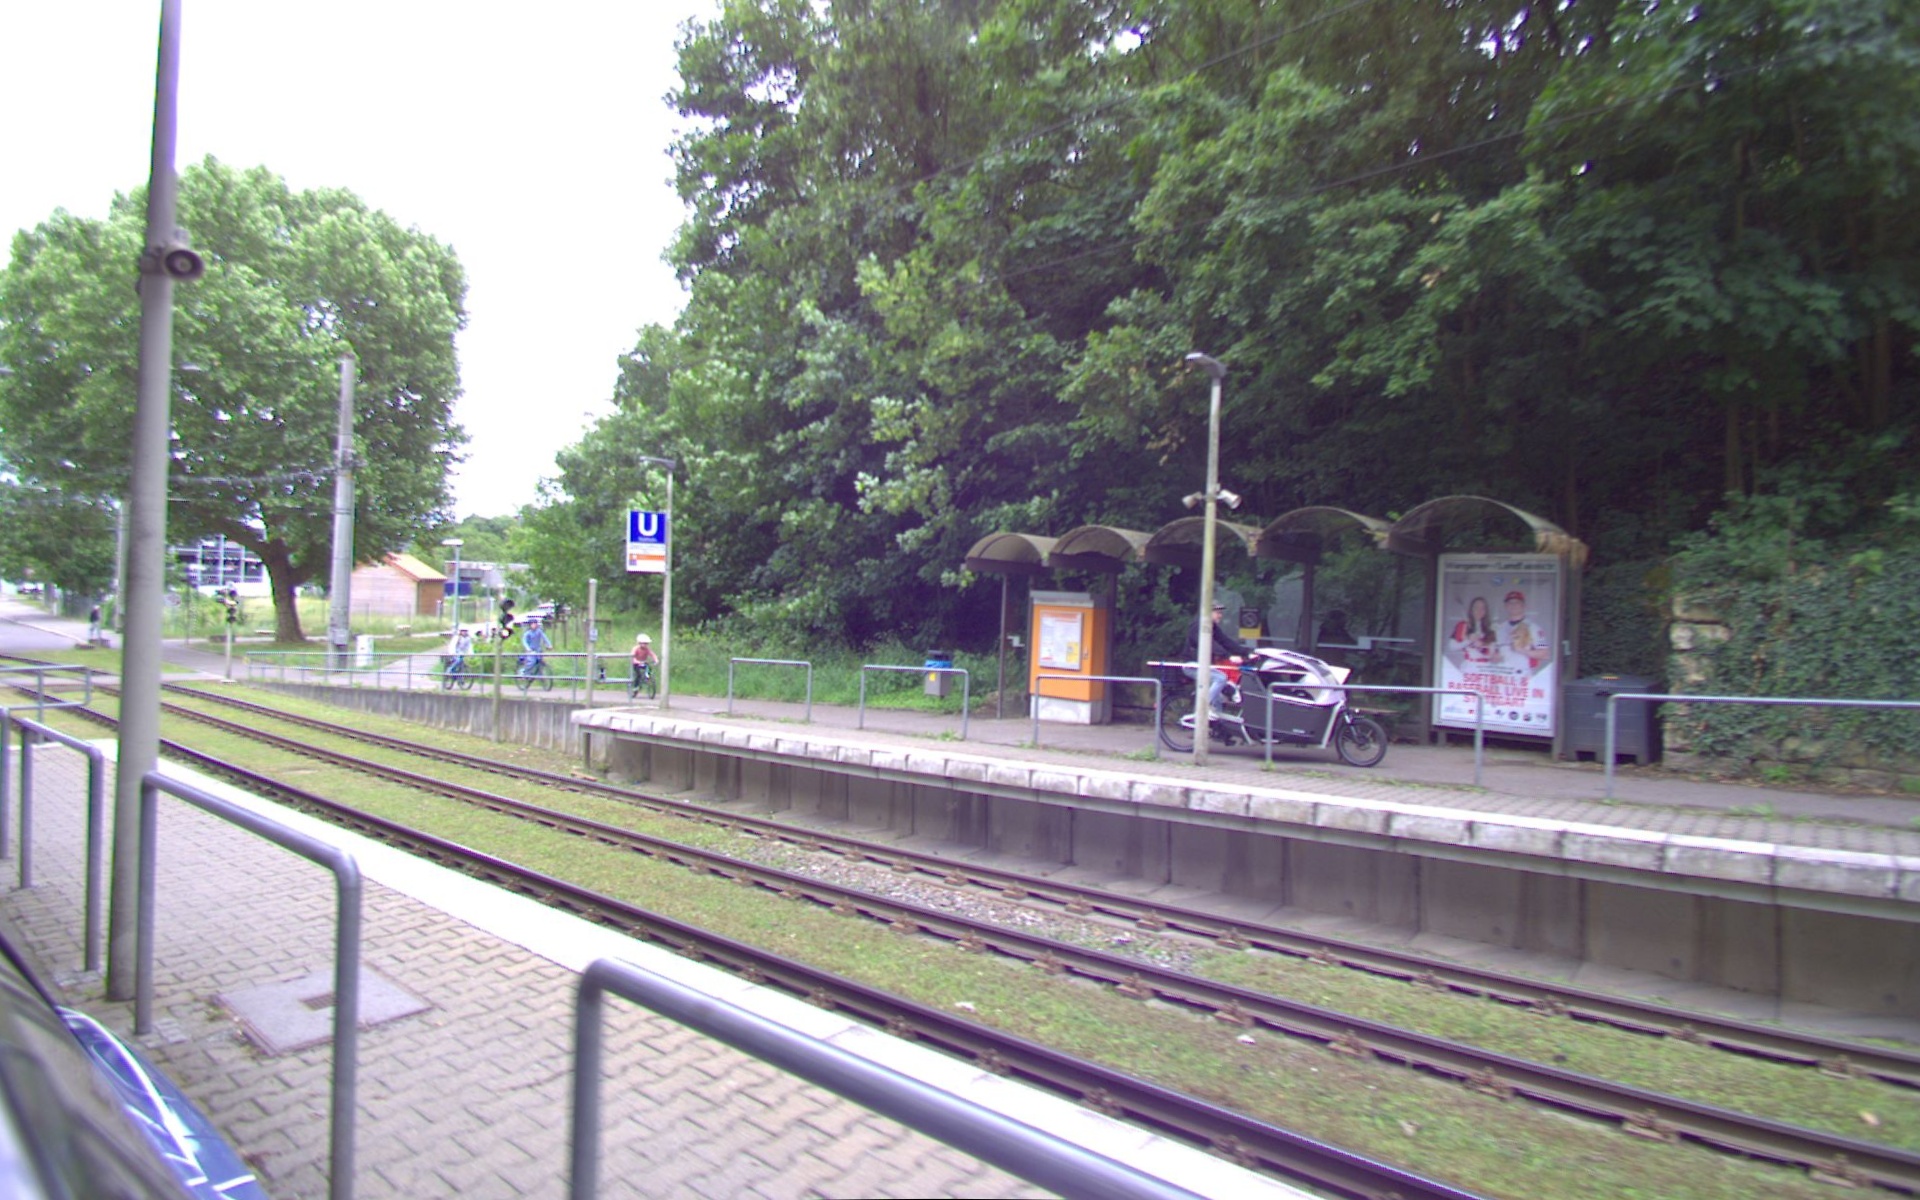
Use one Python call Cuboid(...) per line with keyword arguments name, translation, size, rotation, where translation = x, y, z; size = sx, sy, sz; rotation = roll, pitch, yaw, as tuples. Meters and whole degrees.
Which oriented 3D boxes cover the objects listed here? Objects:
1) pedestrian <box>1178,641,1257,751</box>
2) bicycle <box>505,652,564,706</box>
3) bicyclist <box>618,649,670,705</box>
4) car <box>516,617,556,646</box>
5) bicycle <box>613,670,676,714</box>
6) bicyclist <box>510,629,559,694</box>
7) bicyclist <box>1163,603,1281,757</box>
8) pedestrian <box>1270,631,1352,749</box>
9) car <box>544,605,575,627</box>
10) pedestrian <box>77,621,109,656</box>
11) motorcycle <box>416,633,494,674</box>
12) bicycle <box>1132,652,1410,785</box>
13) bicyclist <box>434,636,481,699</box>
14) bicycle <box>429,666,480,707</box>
Cuboid(name="pedestrian", translation=(3.371, 1.221, 13.229), size=(0.772, 1.333, 0.813), rotation=(-1, -1, 35))
Cuboid(name="bicycle", translation=(-9.808, 1.804, 23.297), size=(1.939, 1.197, 0.458), rotation=(-3, -2, 41))
Cuboid(name="bicyclist", translation=(-6.219, 1.502, 19.898), size=(0.744, 1.061, 0.682), rotation=(-3, -2, 41))
Cuboid(name="car", translation=(-26.637, 1.939, 63.714), size=(1.966, 1.696, 4.012), rotation=(0, -1, -17))
Cuboid(name="bicycle", translation=(-6.174, 1.777, 19.777), size=(1.564, 0.787, 0.445), rotation=(-3, -2, 42))
Cuboid(name="bicyclist", translation=(-9.779, 1.407, 23.262), size=(0.839, 1.454, 0.722), rotation=(-3, -2, 40))
Cuboid(name="bicyclist", translation=(2.960, 0.869, 11.453), size=(1.033, 1.641, 0.696), rotation=(-3, -2, 44))
Cuboid(name="pedestrian", translation=(4.364, 1.084, 12.568), size=(0.772, 1.385, 0.813), rotation=(-1, -1, 35))
Cuboid(name="car", translation=(-31.762, 1.237, 80.312), size=(1.966, 1.696, 4.012), rotation=(0, -1, -17))
Cuboid(name="pedestrian", translation=(-44.681, 1.989, 52.175), size=(1.099, 1.747, 0.696), rotation=(0, -1, -27))
Cuboid(name="motorcycle", translation=(-21.022, 2.210, 42.222), size=(1.247, 1.564, 3.046), rotation=(0, -1, 14))
Cuboid(name="bicycle", translation=(3.307, 1.210, 11.088), size=(2.868, 1.249, 0.742), rotation=(-3, -2, 45))
Cuboid(name="bicyclist", translation=(-11.983, 1.603, 24.124), size=(0.908, 1.442, 0.736), rotation=(-4, -3, 44))
Cuboid(name="bicycle", translation=(-12.090, 2.047, 24.180), size=(1.845, 0.932, 0.472), rotation=(-4, -3, 44))
